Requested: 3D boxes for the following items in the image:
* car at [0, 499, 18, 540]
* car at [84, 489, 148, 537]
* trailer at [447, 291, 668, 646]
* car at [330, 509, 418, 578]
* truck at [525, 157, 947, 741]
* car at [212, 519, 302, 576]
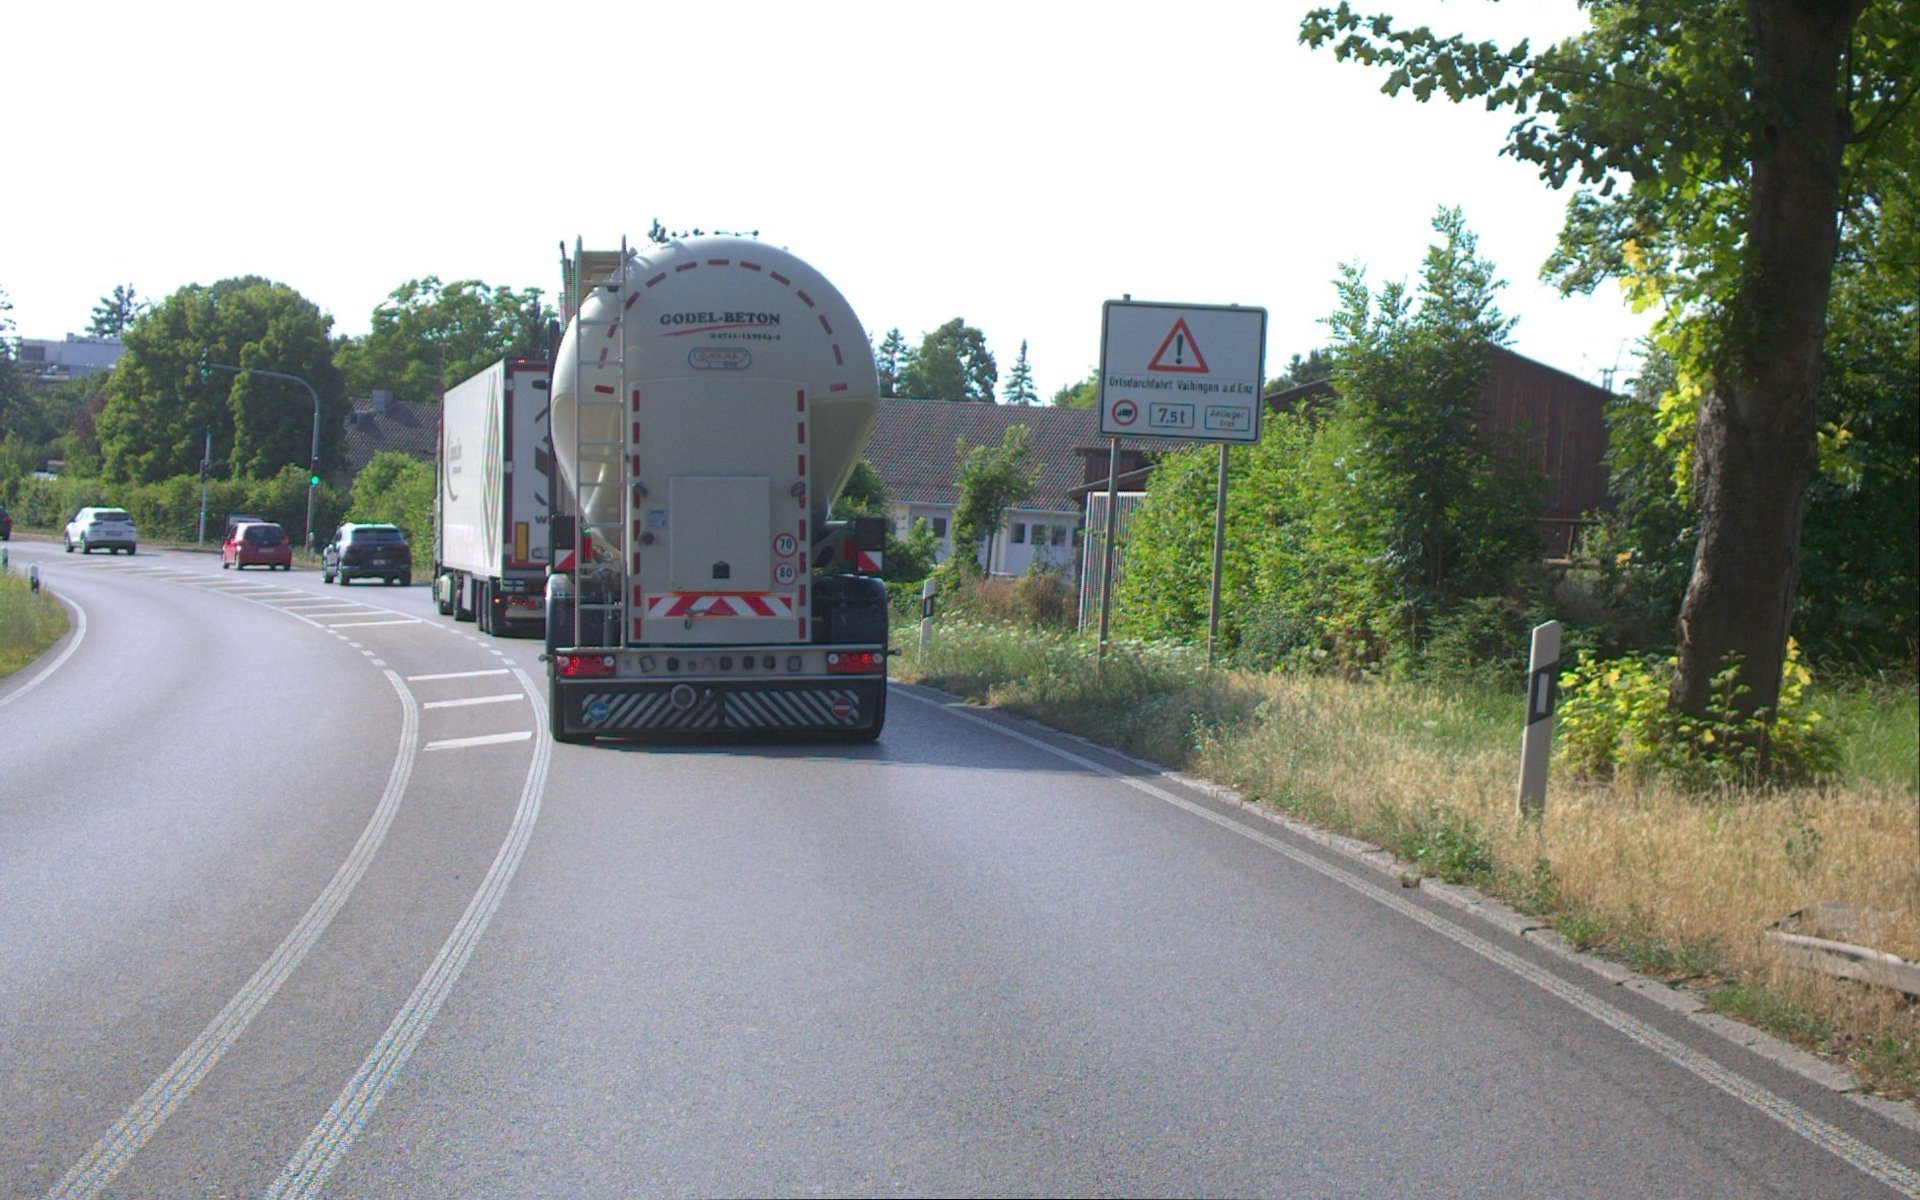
[{"bbox_3d":[-40.131,-3.337,141.905,1.519,1.650,3.873,1,0,-29],"label":"car"},{"bbox_3d":[-30.508,-3.133,124.218,1.840,1.650,4.001,1,0,-19],"label":"car"},{"bbox_3d":[-6.180,-1.869,52.862,2.963,4.865,10.290,1,0,-7],"label":"trailer"},{"bbox_3d":[-14.846,-1.419,87.016,1.993,1.650,4.001,1,0,-12],"label":"car"},{"bbox_3d":[-2.266,-1.131,30.647,2.975,4.161,11.665,1,0,-6],"label":"truck"},{"bbox_3d":[-21.407,-1.596,104.588,2.299,1.650,4.416,1,0,-16],"label":"car"}]
